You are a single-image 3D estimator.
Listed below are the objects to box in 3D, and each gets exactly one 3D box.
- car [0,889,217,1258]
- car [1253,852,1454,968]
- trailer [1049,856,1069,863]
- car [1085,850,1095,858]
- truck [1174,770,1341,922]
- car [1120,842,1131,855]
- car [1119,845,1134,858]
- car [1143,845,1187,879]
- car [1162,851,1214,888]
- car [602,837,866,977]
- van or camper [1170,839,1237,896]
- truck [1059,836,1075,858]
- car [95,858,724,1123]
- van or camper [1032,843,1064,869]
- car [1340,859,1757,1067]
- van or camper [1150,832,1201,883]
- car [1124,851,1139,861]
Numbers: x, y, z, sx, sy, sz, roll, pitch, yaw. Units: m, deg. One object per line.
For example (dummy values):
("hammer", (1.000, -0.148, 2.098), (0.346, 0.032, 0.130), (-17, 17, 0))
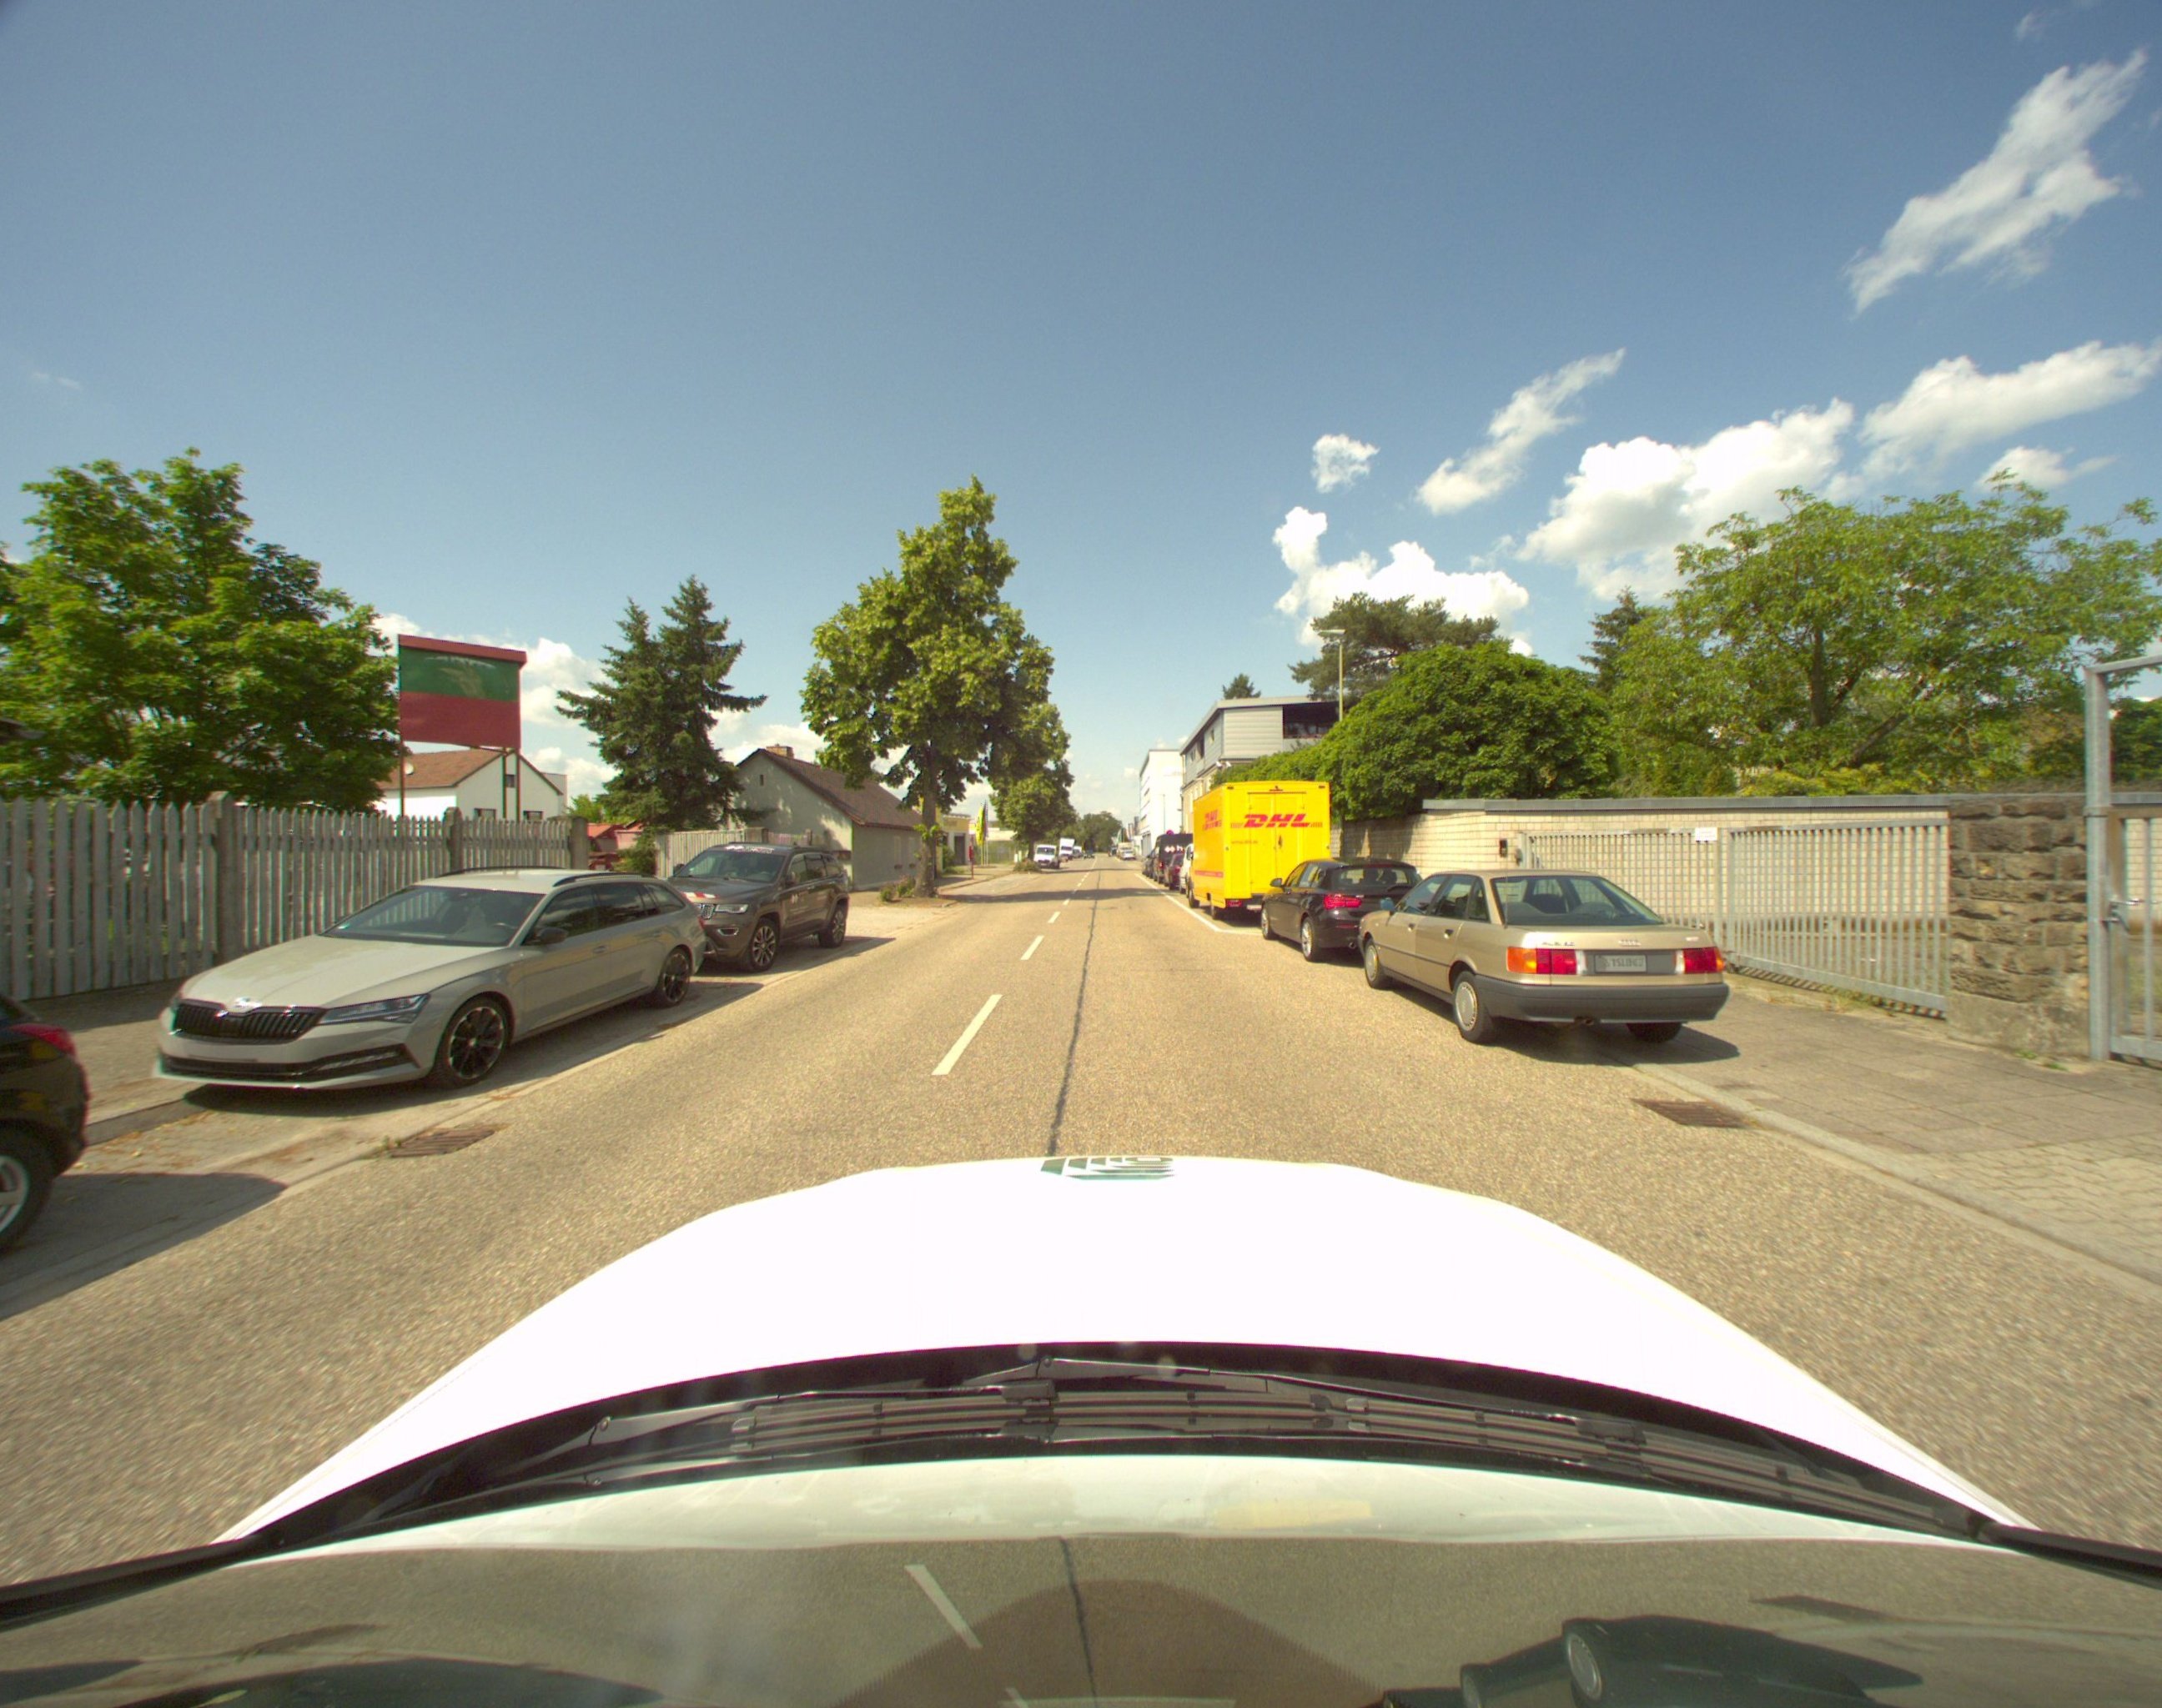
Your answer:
("car", (-5.332, 0.938, 2.184), (1.622, 1.448, 4.027), (4, 0, 0))
("car", (3.925, 0.709, 12.520), (1.656, 1.441, 4.283), (-1, 0, 0))
("trailer", (-2.908, 0.758, 110.018), (2.408, 0.813, 5.540), (1, 1, 2))
("car", (1.513, -0.030, 143.124), (1.648, 1.324, 4.418), (-1, 0, 2))
("truck", (3.870, -0.173, 19.532), (2.466, 2.940, 7.189), (1, 0, 0))
("car", (7.463, -0.901, 136.218), (1.701, 2.090, 4.001), (-1, 0, 1))
("car", (6.968, -0.417, 125.536), (2.208, 2.013, 5.487), (-1, 0, 2))
("car", (4.665, 0.421, 45.846), (1.954, 1.780, 4.954), (1, 0, 0))
("car", (4.394, 0.595, 33.936), (1.675, 1.442, 4.768), (0, 0, 2))
("car", (-5.165, 0.686, 13.020), (1.911, 1.822, 4.790), (0, 0, 3))
("van or camper", (4.200, 0.431, 28.719), (1.752, 1.805, 5.590), (0, 0, 2))
("truck", (-2.100, -1.048, 123.858), (2.022, 3.154, 6.503), (-1, 0, 2))
("car", (-5.250, 0.868, 7.470), (1.727, 1.518, 4.744), (2, 1, 1))
("van or camper", (-3.131, 0.188, 79.525), (2.163, 2.413, 7.708), (-1, 0, 5))
("car", (3.982, 0.774, 7.928), (1.645, 1.387, 4.425), (0, 0, 2))
("van or camper", (4.520, 0.147, 39.881), (1.986, 2.291, 5.450), (1, 0, 2))
("car", (6.970, 0.202, 112.161), (1.921, 1.310, 4.002), (-1, 0, 1))
